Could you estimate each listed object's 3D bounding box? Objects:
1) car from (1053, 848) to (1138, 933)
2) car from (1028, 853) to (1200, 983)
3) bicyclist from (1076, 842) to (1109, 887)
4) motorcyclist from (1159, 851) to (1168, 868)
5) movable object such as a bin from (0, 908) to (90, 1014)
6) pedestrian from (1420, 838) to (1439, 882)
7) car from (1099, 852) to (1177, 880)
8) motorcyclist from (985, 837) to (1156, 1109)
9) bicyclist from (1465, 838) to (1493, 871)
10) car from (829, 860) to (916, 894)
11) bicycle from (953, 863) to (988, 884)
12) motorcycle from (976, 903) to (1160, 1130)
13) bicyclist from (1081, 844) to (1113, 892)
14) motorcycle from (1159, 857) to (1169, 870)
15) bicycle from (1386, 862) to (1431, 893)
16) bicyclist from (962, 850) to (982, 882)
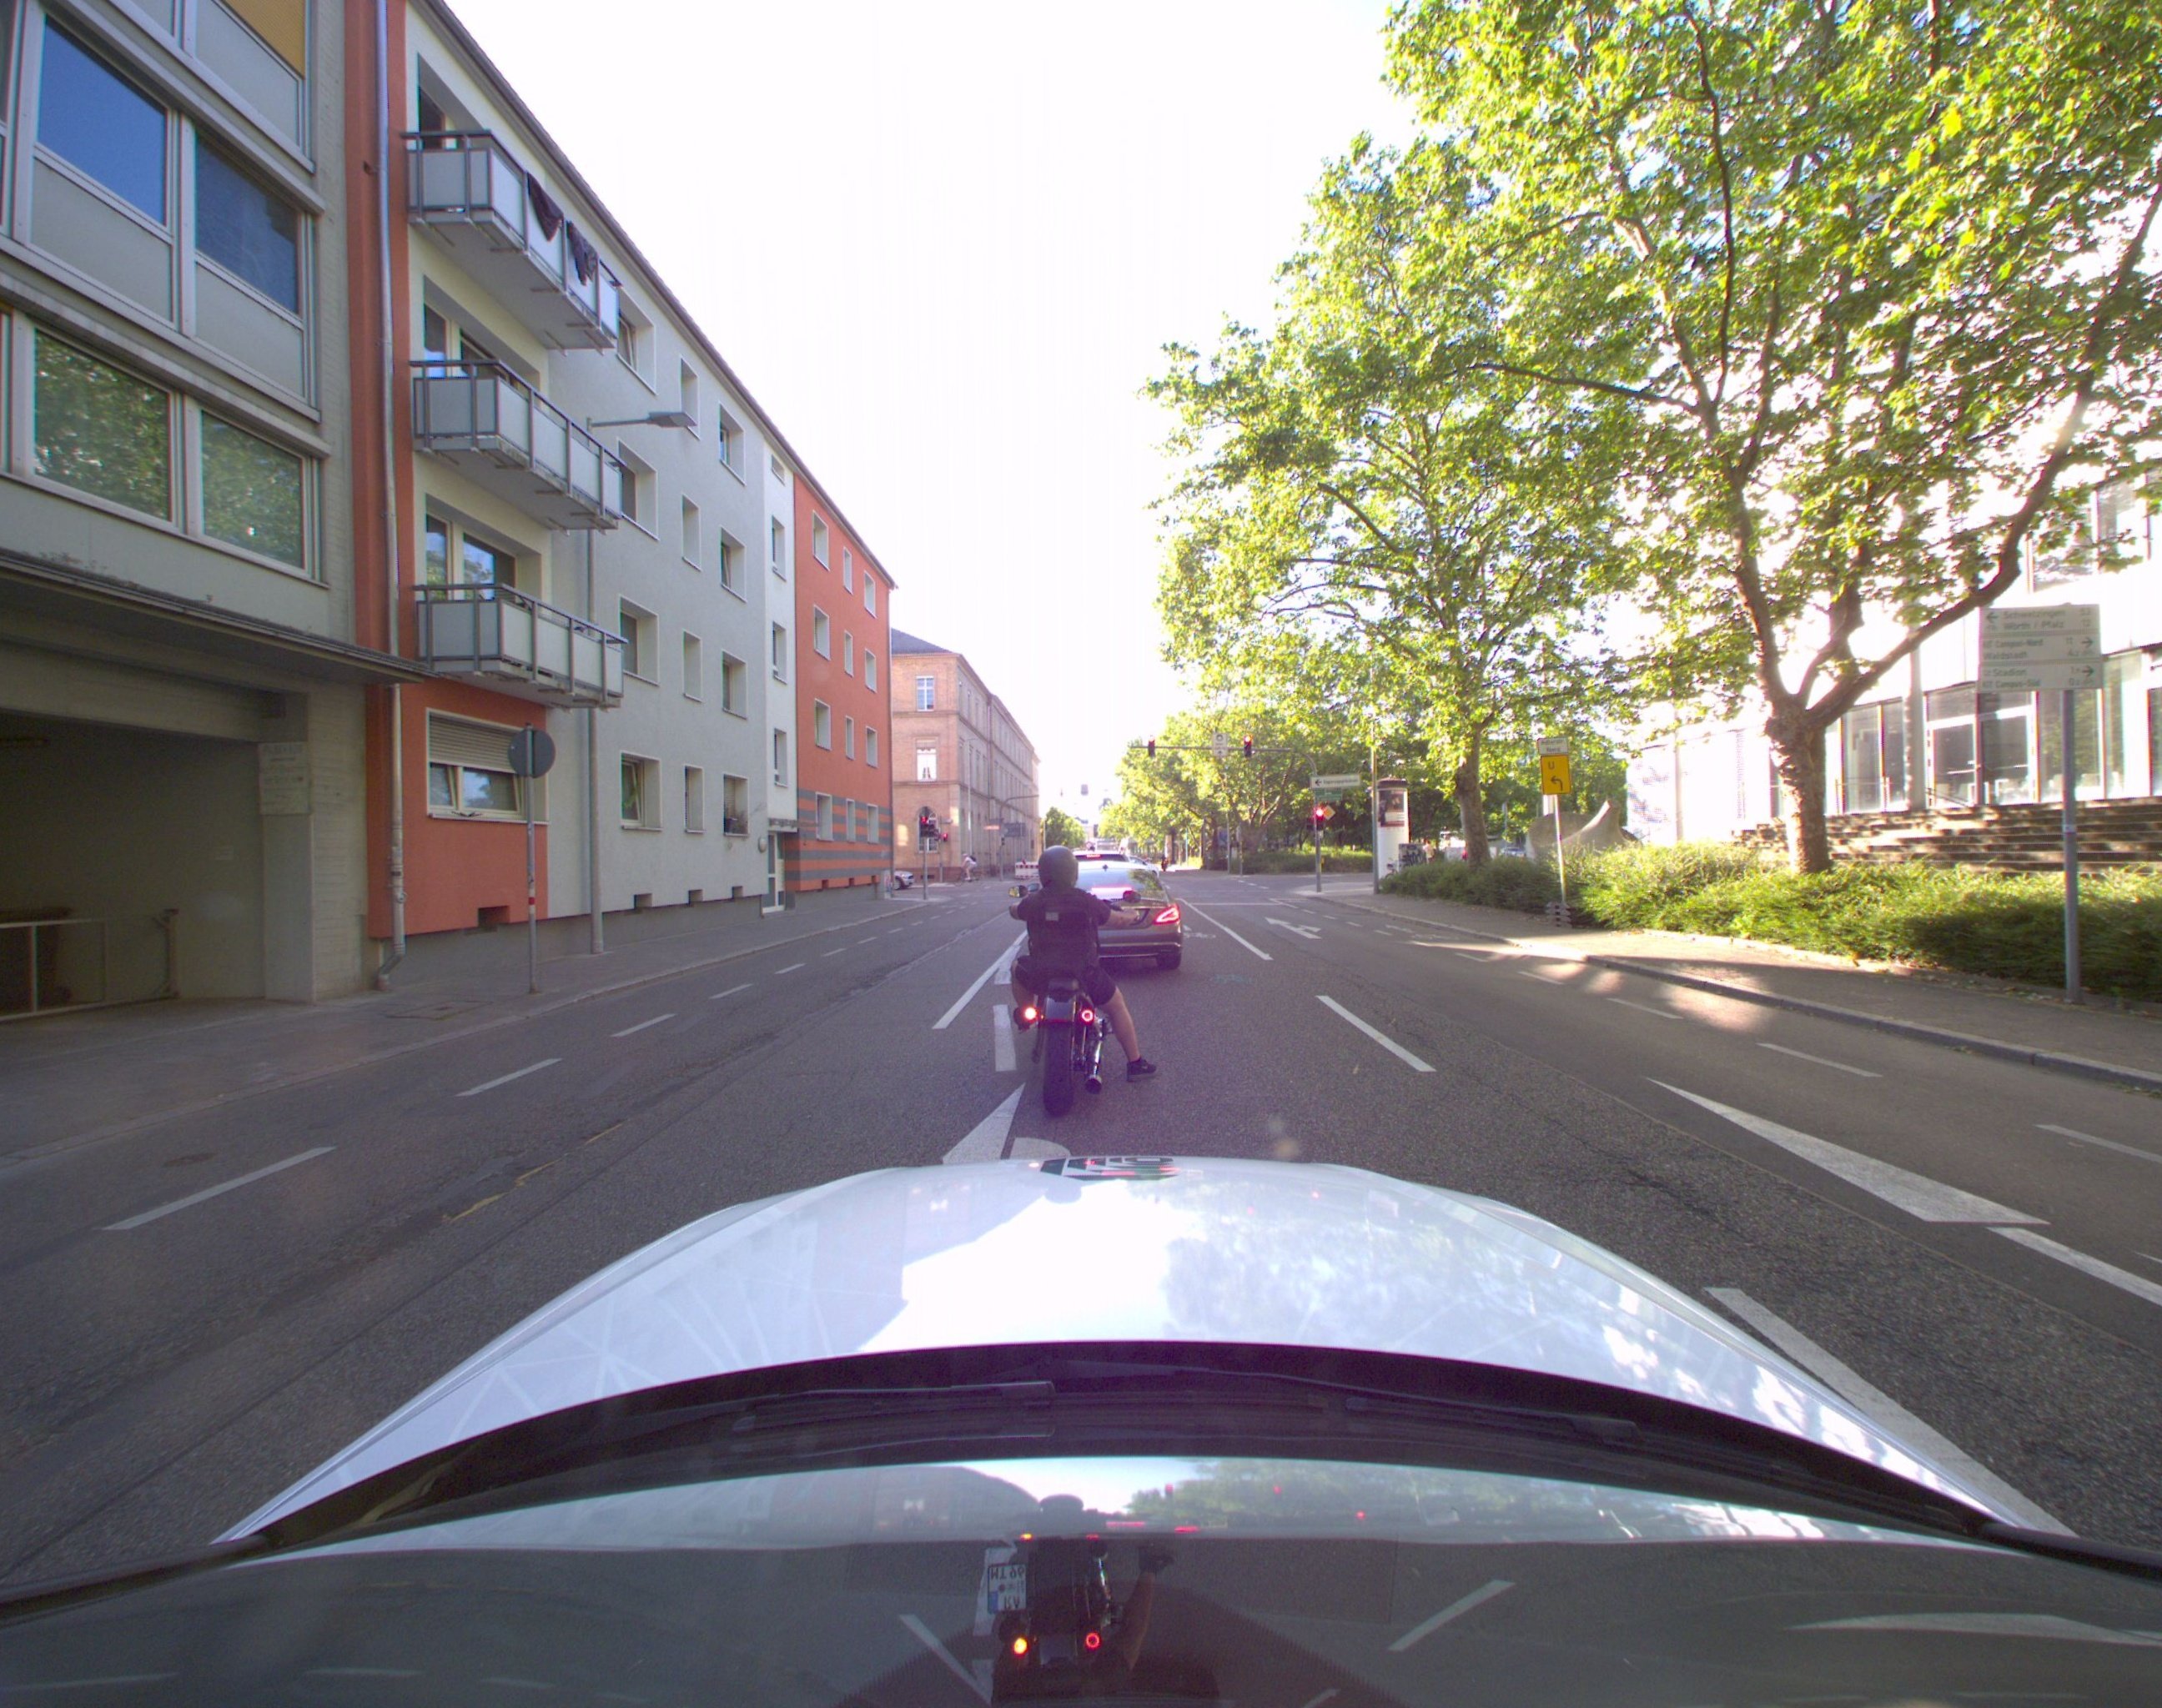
[{"bbox_3d":[0.318,0.714,17.904,1.606,1.607,4.329,-1,0,1],"label":"car"},{"bbox_3d":[0.254,0.750,11.734,1.943,1.473,4.355,-1,0,-5],"label":"car"},{"bbox_3d":[0.446,0.405,31.813,1.034,1.695,0.710,-3,-1,44],"label":"bicyclist"},{"bbox_3d":[8.306,0.546,82.066,0.835,1.703,1.181,-1,0,2],"label":"motorcyclist"},{"bbox_3d":[-11.319,1.125,8.698,0.593,1.041,0.703,0,-1,1],"label":"movable object such as a bin"},{"bbox_3d":[14.917,0.246,34.871,0.549,1.849,0.594,-1,0,3],"label":"pedestrian"},{"bbox_3d":[3.121,0.637,44.446,3.924,1.486,1.842,0,-1,-35],"label":"car"},{"bbox_3d":[-0.040,0.707,5.542,0.986,1.597,1.404,-1,0,2],"label":"motorcyclist"},{"bbox_3d":[20.153,0.005,41.248,1.034,1.614,0.768,-1,3,3],"label":"bicyclist"},{"bbox_3d":[-10.372,1.132,40.742,3.887,1.481,1.825,-2,0,-4],"label":"car"},{"bbox_3d":[-6.144,1.091,45.279,1.829,1.105,0.611,-1,0,-3],"label":"bicycle"},{"bbox_3d":[-0.031,0.966,5.696,0.986,1.078,2.453,-1,0,2],"label":"motorcycle"},{"bbox_3d":[0.573,0.511,29.421,0.707,1.692,0.955,-1,0,-30],"label":"bicyclist"},{"bbox_3d":[8.325,0.973,82.042,0.835,1.245,2.284,-1,0,2],"label":"motorcycle"},{"bbox_3d":[11.043,0.797,27.497,1.346,1.023,0.363,-1,0,2],"label":"bicycle"},{"bbox_3d":[-6.062,0.668,45.285,0.973,1.743,0.609,-1,0,-3],"label":"bicyclist"}]
